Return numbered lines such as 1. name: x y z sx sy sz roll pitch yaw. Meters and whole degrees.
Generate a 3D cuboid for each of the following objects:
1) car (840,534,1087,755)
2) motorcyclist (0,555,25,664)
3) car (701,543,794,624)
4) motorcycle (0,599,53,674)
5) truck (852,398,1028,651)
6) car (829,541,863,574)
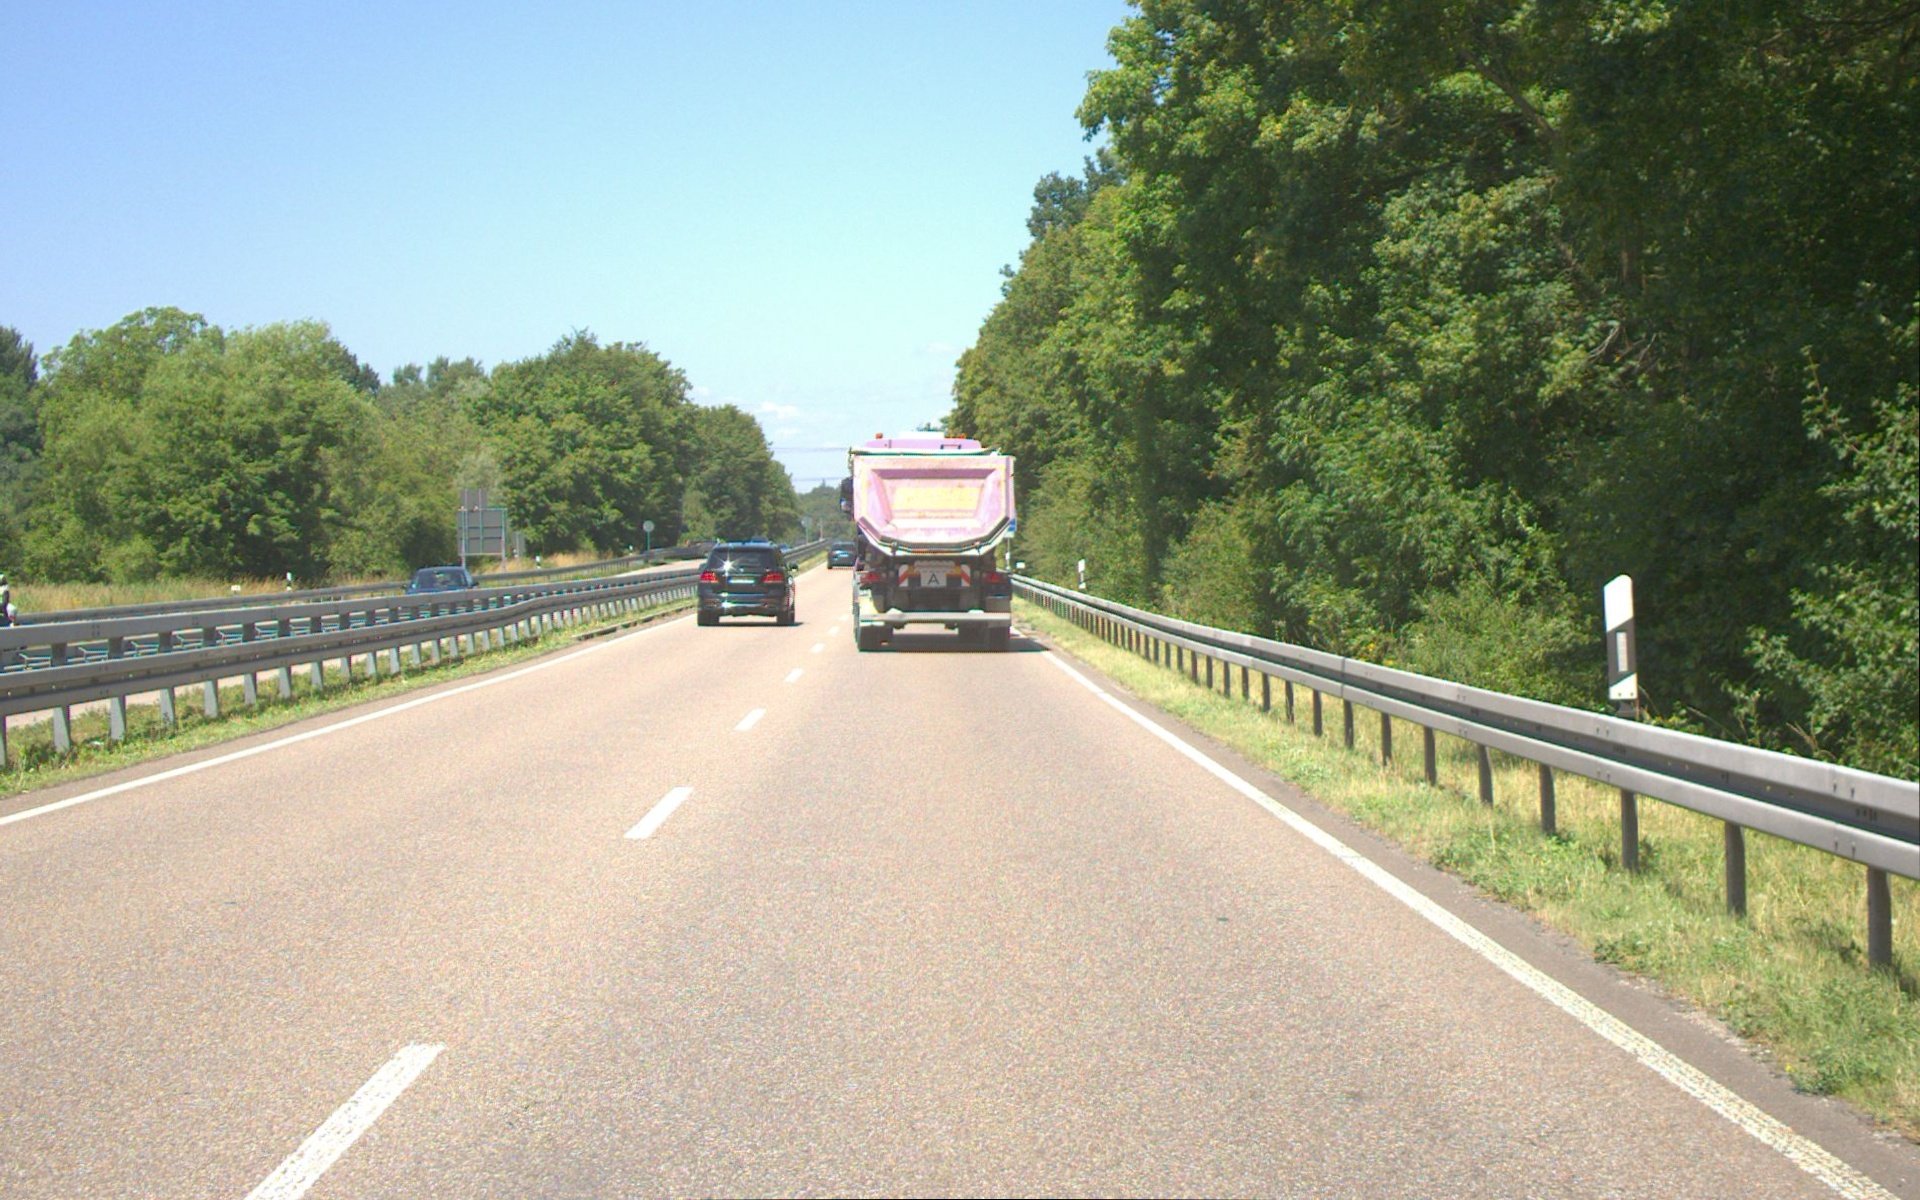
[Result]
1. car: -0.039 0.342 27.846 1.857 1.665 4.000 0 0 -2
2. motorcyclist: -14.664 0.148 51.734 0.945 1.611 0.809 -2 1 -2
3. car: -4.472 -0.335 72.861 1.857 1.665 4.000 0 0 -2
4. motorcycle: -14.703 0.558 51.824 1.063 1.060 3.818 -2 1 -1
5. truck: -0.481 -1.320 59.559 2.720 3.916 12.371 0 1 -2
6. car: -6.171 -2.304 186.290 1.857 1.712 4.000 0 0 -2
